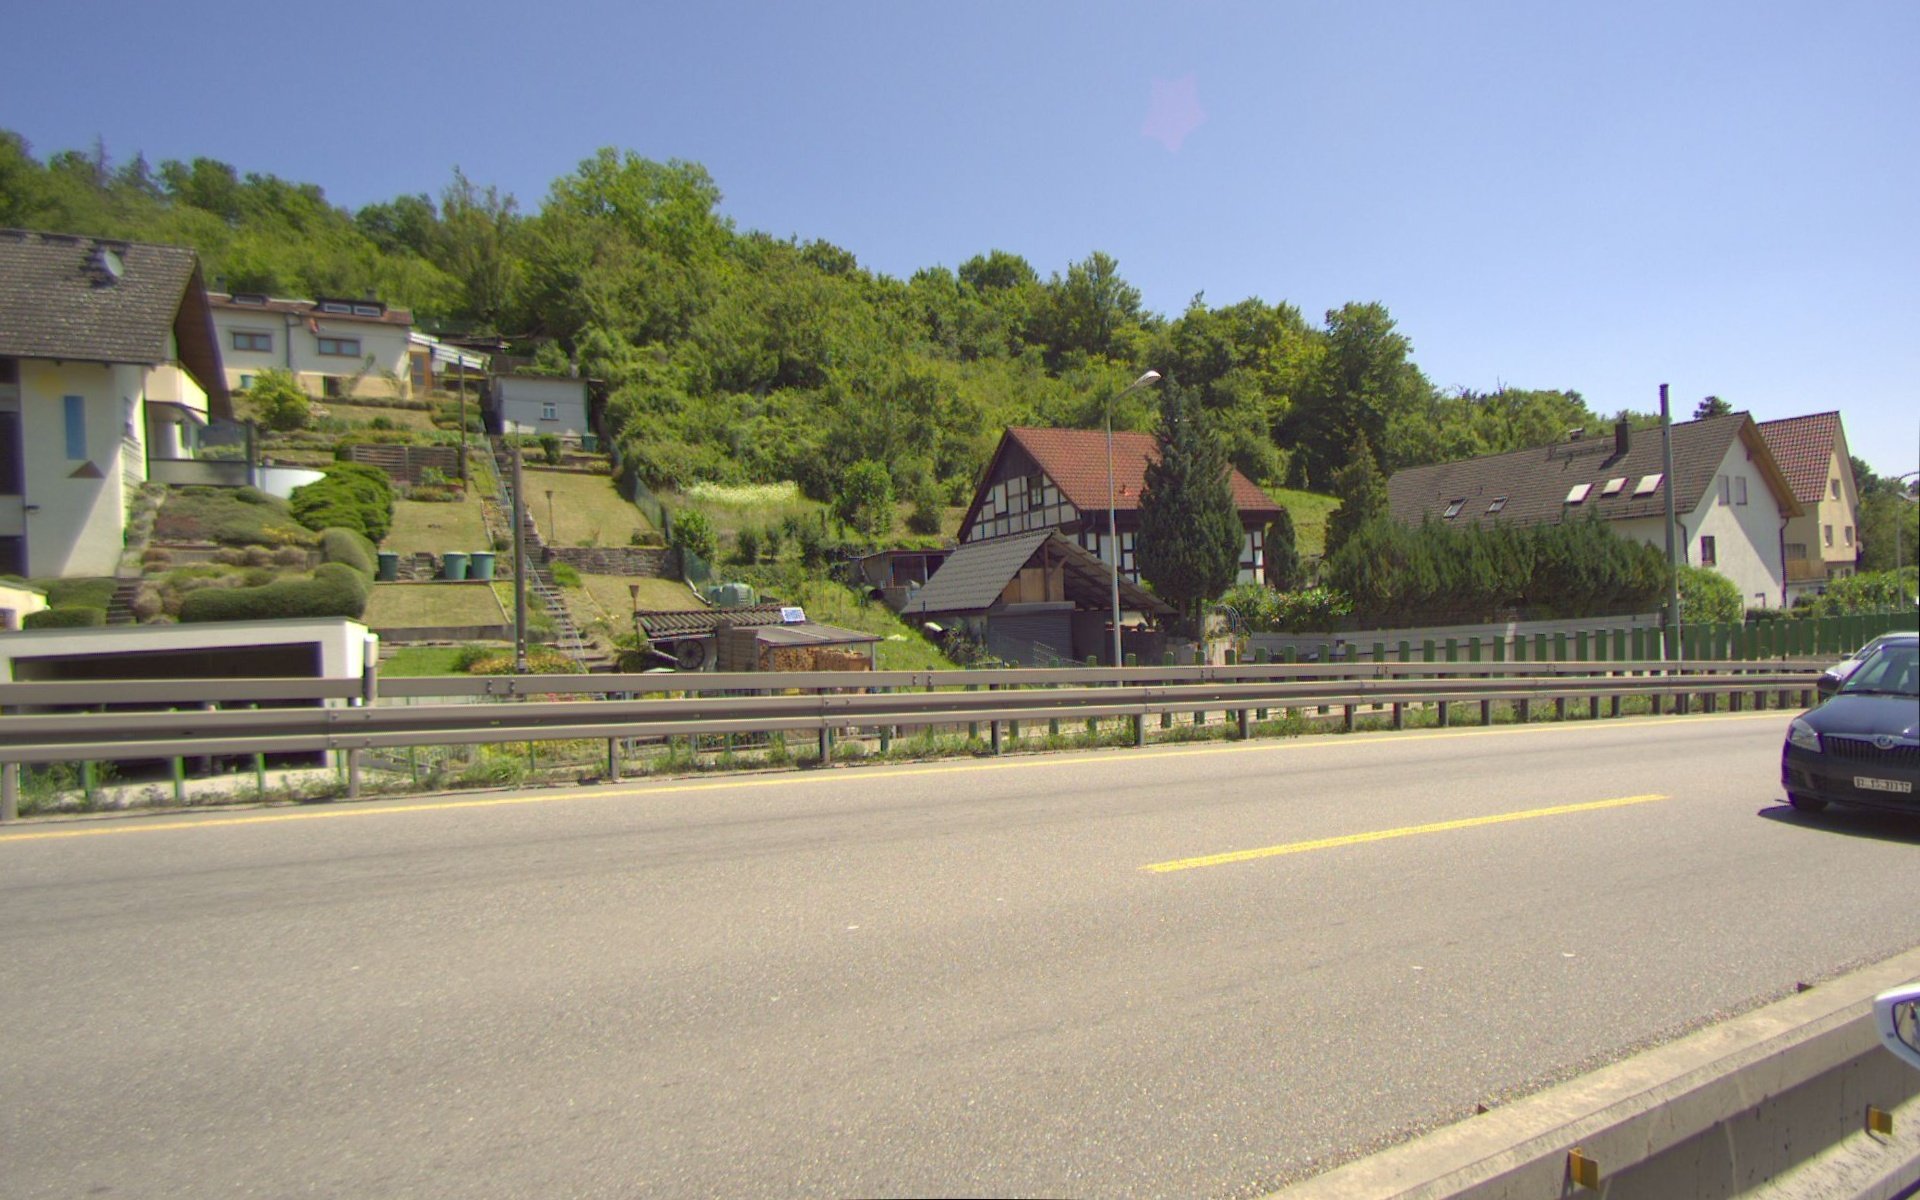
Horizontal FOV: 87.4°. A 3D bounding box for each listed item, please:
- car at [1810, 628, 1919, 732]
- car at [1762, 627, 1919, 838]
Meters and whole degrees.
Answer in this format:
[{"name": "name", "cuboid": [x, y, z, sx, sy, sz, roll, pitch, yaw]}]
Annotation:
[{"name": "car", "cuboid": [15.535, 1.234, 16.153, 3.928, 1.499, 1.693, 2, -1, -31]}, {"name": "car", "cuboid": [8.513, 0.993, 8.331, 4.165, 1.481, 1.563, 2, -1, -31]}]
